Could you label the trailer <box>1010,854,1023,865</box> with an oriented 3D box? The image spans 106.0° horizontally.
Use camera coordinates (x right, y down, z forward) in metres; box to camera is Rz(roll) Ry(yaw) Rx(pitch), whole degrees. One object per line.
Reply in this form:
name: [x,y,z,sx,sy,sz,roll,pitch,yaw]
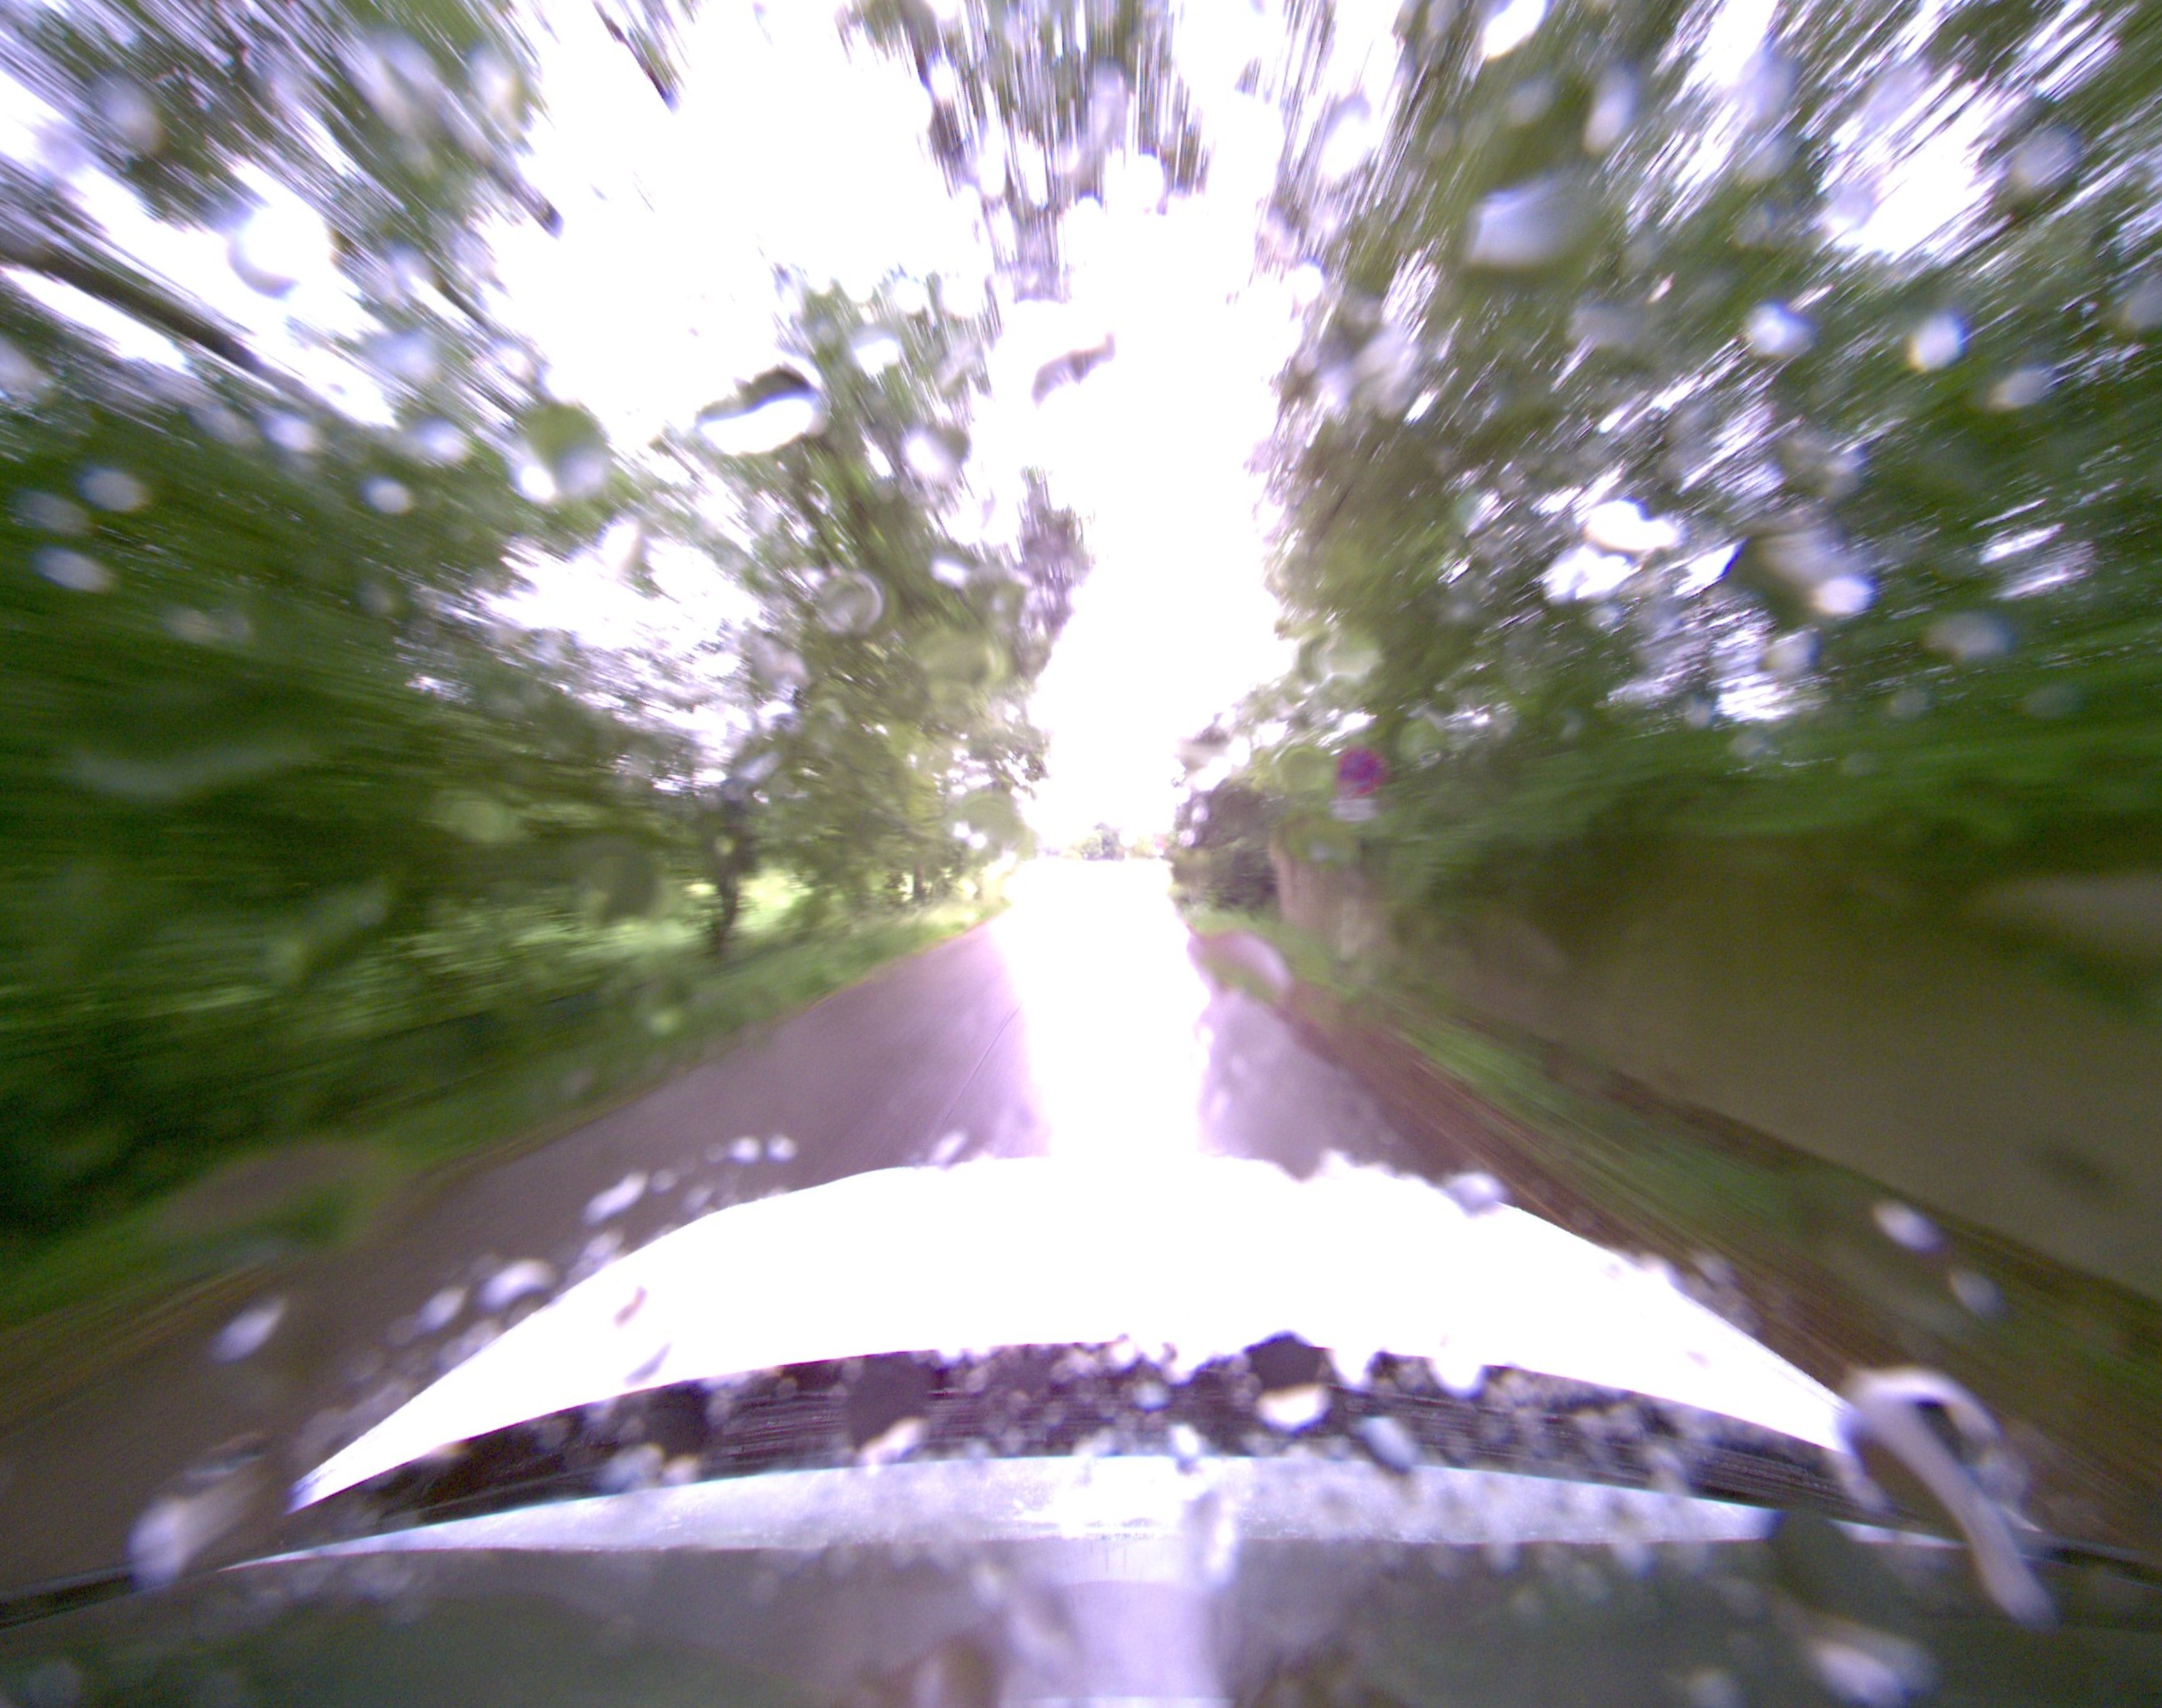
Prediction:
trailer: [-9.340,0.826,117.919,1.750,1.505,3.081,-1,0,-8]
